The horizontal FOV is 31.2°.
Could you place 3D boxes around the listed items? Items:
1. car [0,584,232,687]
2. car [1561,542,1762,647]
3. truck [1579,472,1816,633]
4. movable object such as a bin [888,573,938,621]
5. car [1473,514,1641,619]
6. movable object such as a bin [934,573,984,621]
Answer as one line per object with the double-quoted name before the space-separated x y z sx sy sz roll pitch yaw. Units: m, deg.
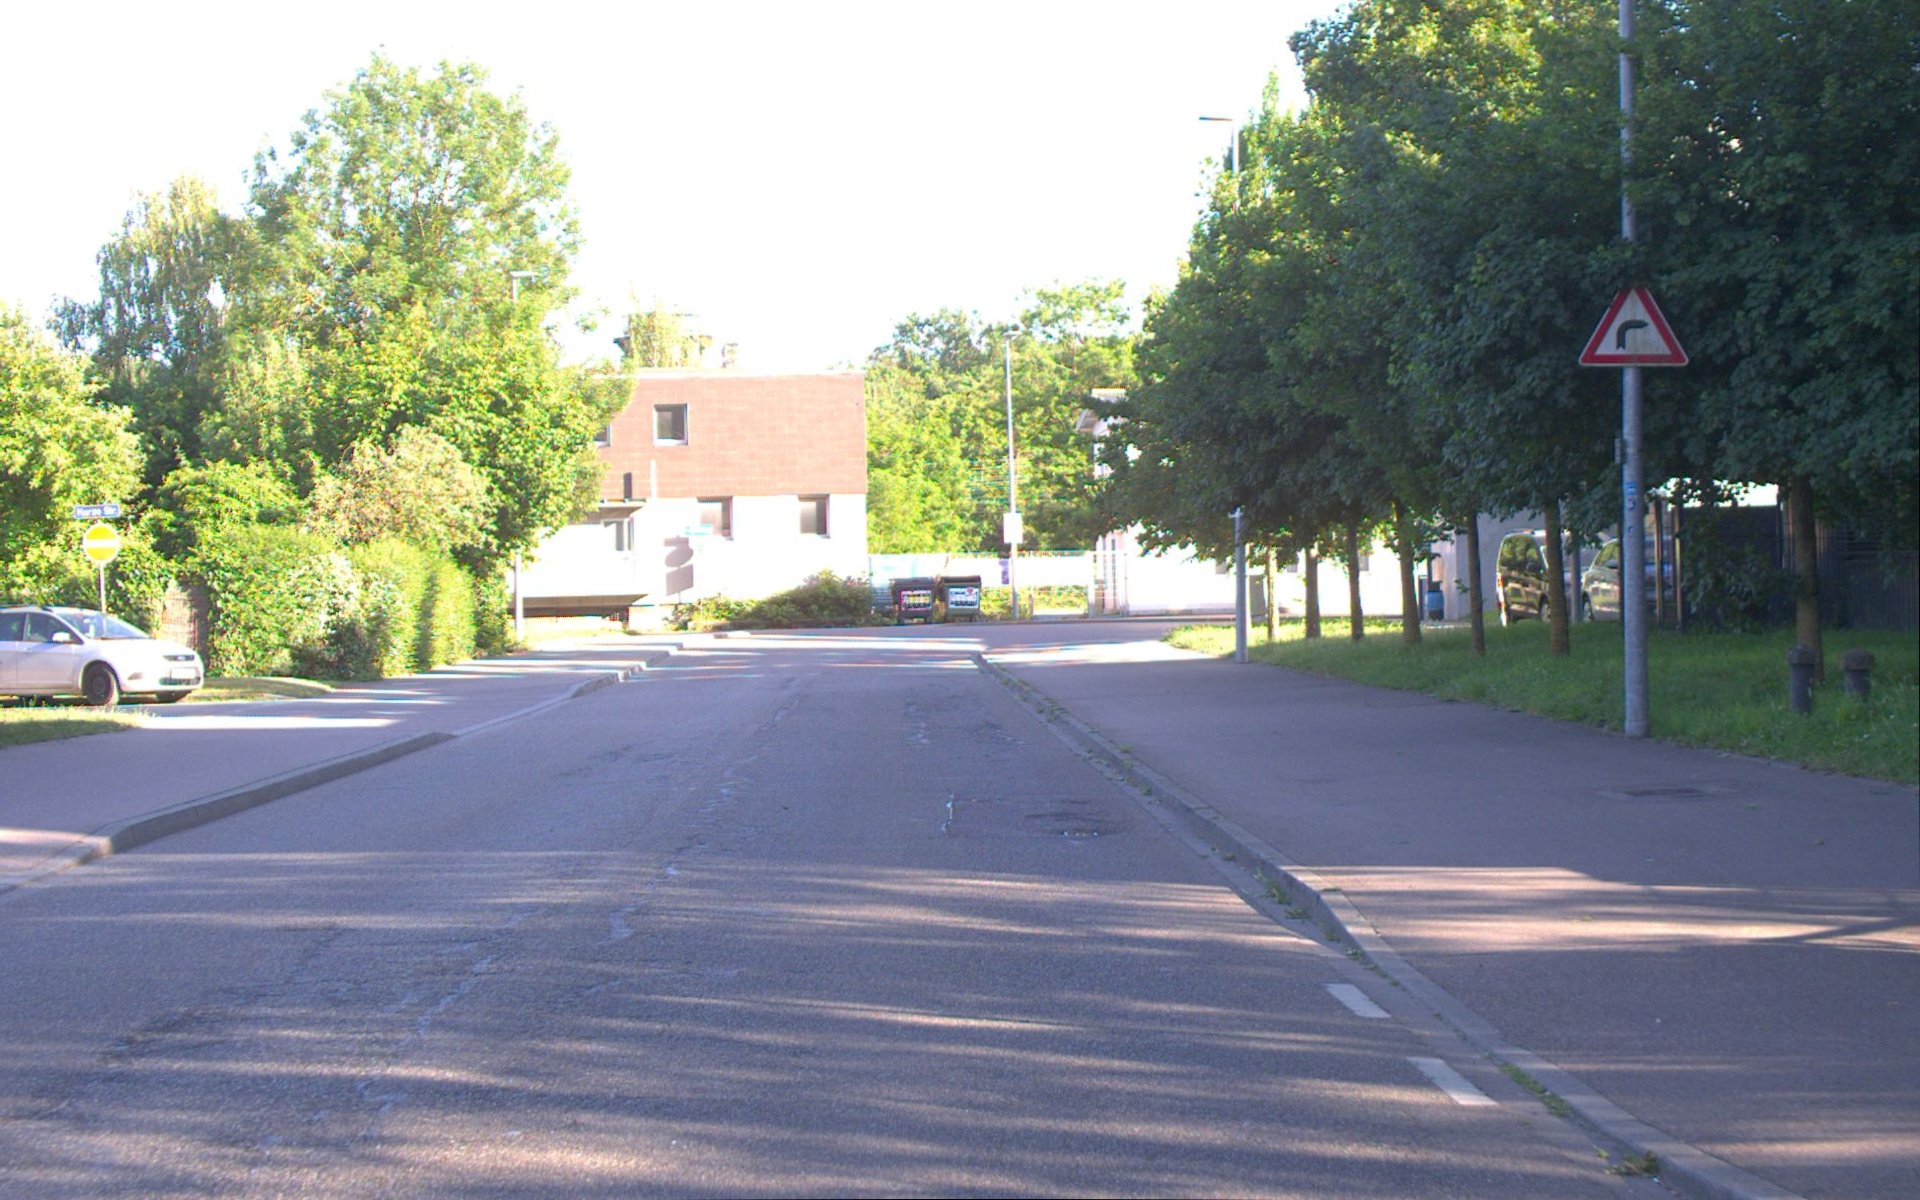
"car" -13.161 0.524 51.313 4.216 1.485 1.874 0 -1 26
"car" 10.224 -0.051 50.415 1.835 1.462 4.279 1 -1 -3
"truck" 13.734 -0.850 64.532 2.358 2.828 6.751 1 0 -6
"movable object such as a bin" -1.406 -0.090 102.854 1.364 1.413 1.066 1 -1 -8
"car" 10.893 -0.582 63.032 1.835 1.808 4.667 1 -1 -6
"movable object such as a bin" -0.040 -0.074 103.165 1.364 1.413 1.066 1 -1 -8
